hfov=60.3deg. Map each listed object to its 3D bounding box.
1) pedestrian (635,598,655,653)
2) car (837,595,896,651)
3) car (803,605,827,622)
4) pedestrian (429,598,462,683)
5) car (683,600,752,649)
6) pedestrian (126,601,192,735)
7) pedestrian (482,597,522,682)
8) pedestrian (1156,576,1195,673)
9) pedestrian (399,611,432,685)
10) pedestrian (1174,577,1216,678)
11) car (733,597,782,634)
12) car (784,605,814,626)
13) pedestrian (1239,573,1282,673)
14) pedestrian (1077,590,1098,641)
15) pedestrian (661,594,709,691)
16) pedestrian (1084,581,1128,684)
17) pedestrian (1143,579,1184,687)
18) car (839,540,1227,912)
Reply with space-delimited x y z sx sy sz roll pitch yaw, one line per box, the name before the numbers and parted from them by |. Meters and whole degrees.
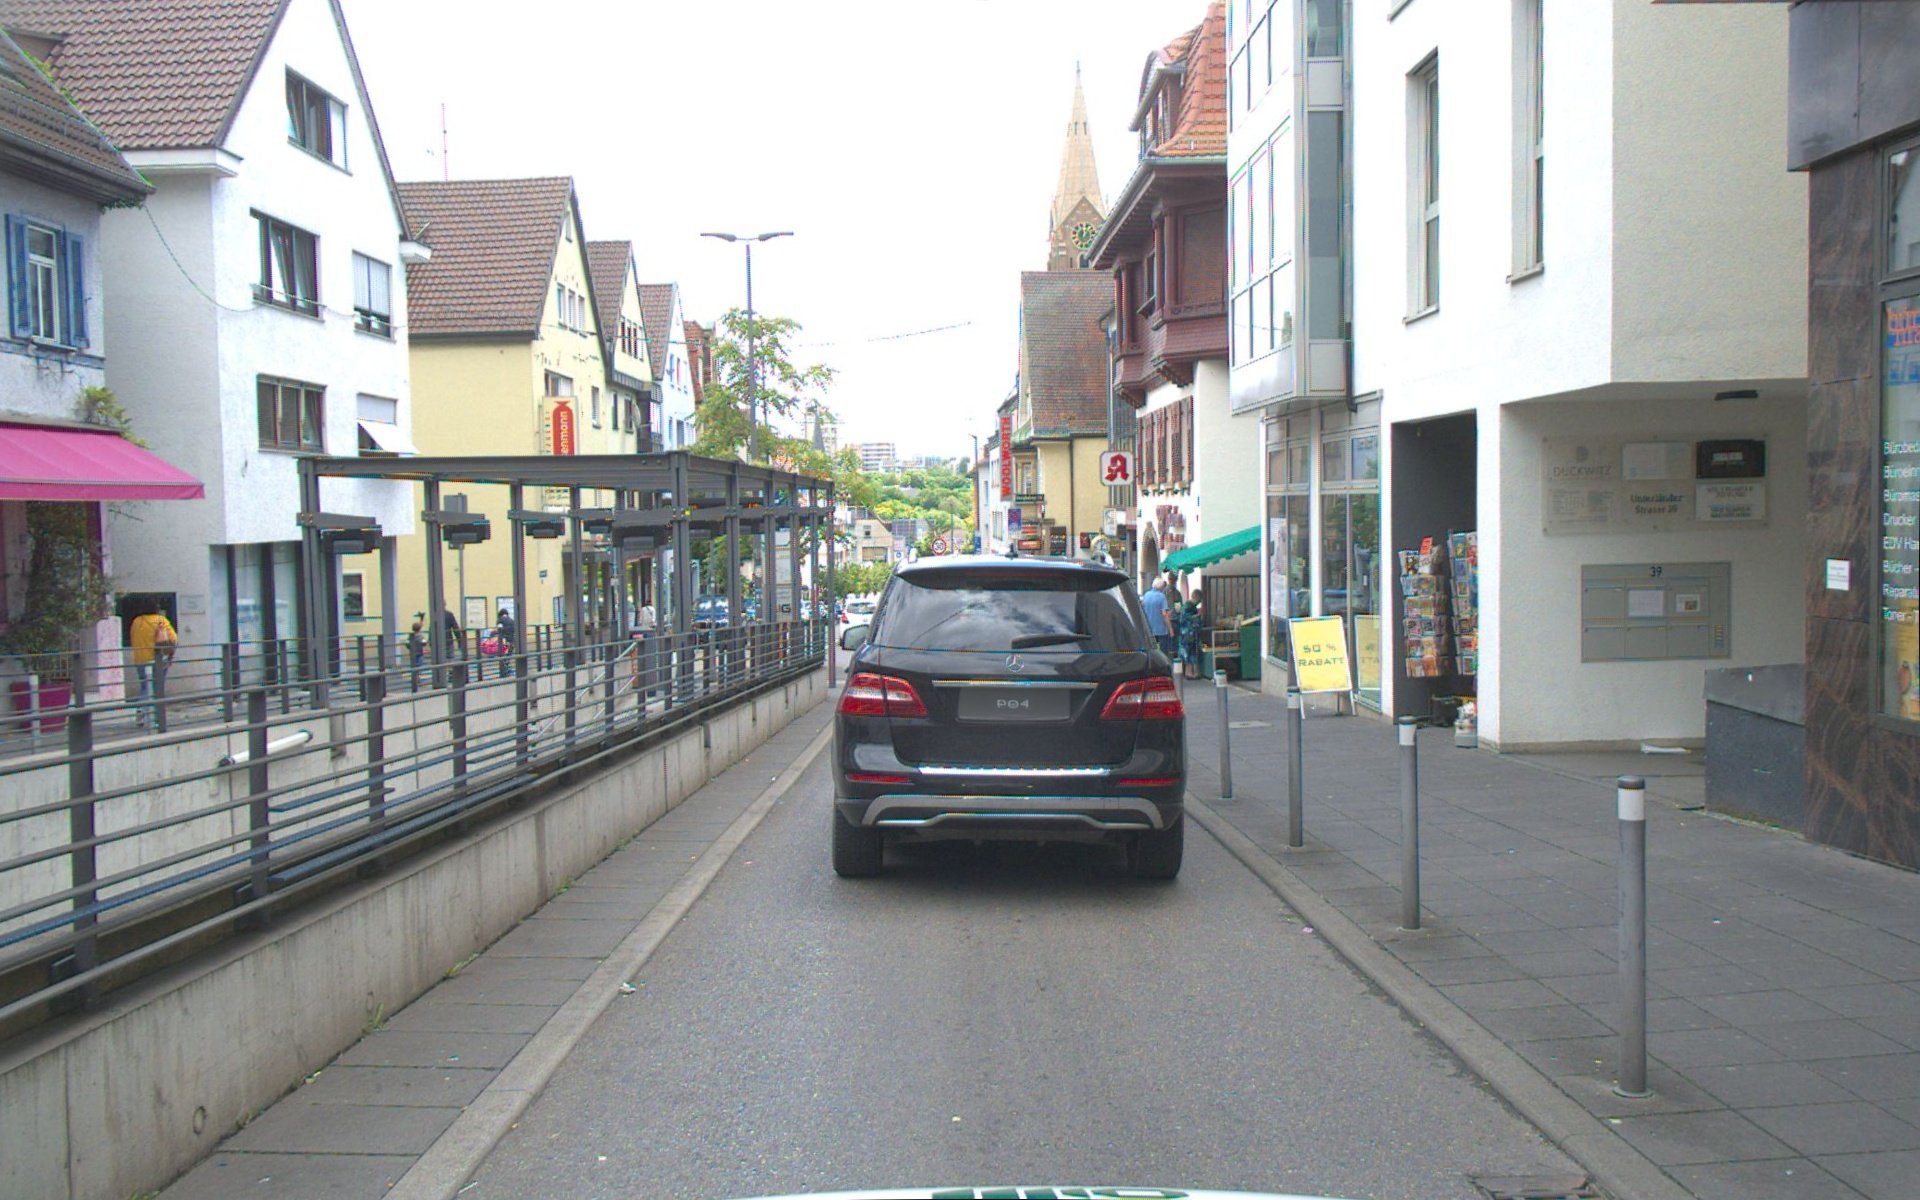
pedestrian | -9.971 0.797 52.369 0.502 1.718 0.541 1 0 -1
car | -3.014 0.719 53.995 1.734 1.743 3.999 1 0 -1
car | -9.693 0.880 110.923 1.360 1.089 3.112 -1 0 -1
pedestrian | -10.546 0.830 33.929 0.601 1.718 0.561 1 0 -15
car | -7.857 0.758 53.868 1.655 1.516 3.978 1 0 -1
pedestrian | -10.476 0.878 21.638 0.566 1.718 0.576 1 0 -1
pedestrian | -9.344 0.802 33.765 0.613 1.718 0.679 1 0 -1
pedestrian | 3.872 0.434 29.707 0.562 1.718 0.565 1 0 -7
pedestrian | -10.915 0.955 33.145 0.447 1.446 0.533 1 0 2
pedestrian | 4.085 0.469 28.778 0.562 1.718 0.565 -1 0 -7
car | -8.647 0.639 70.895 1.626 1.516 3.747 1 0 -1
car | -9.109 0.874 93.737 1.360 1.089 3.112 -1 0 -1
pedestrian | 5.267 0.391 28.992 0.562 1.718 0.565 -1 0 -7
pedestrian | 4.405 0.538 57.113 0.594 1.718 0.724 -1 0 -1
pedestrian | -4.957 0.760 29.800 0.753 1.718 0.724 1 0 -17
pedestrian | 2.462 0.547 27.897 0.609 1.718 0.565 1 0 -7
pedestrian | 3.369 0.545 27.379 0.532 1.756 0.527 -1 0 -7
car | 0.274 0.612 9.996 1.862 1.777 3.998 1 0 -3
